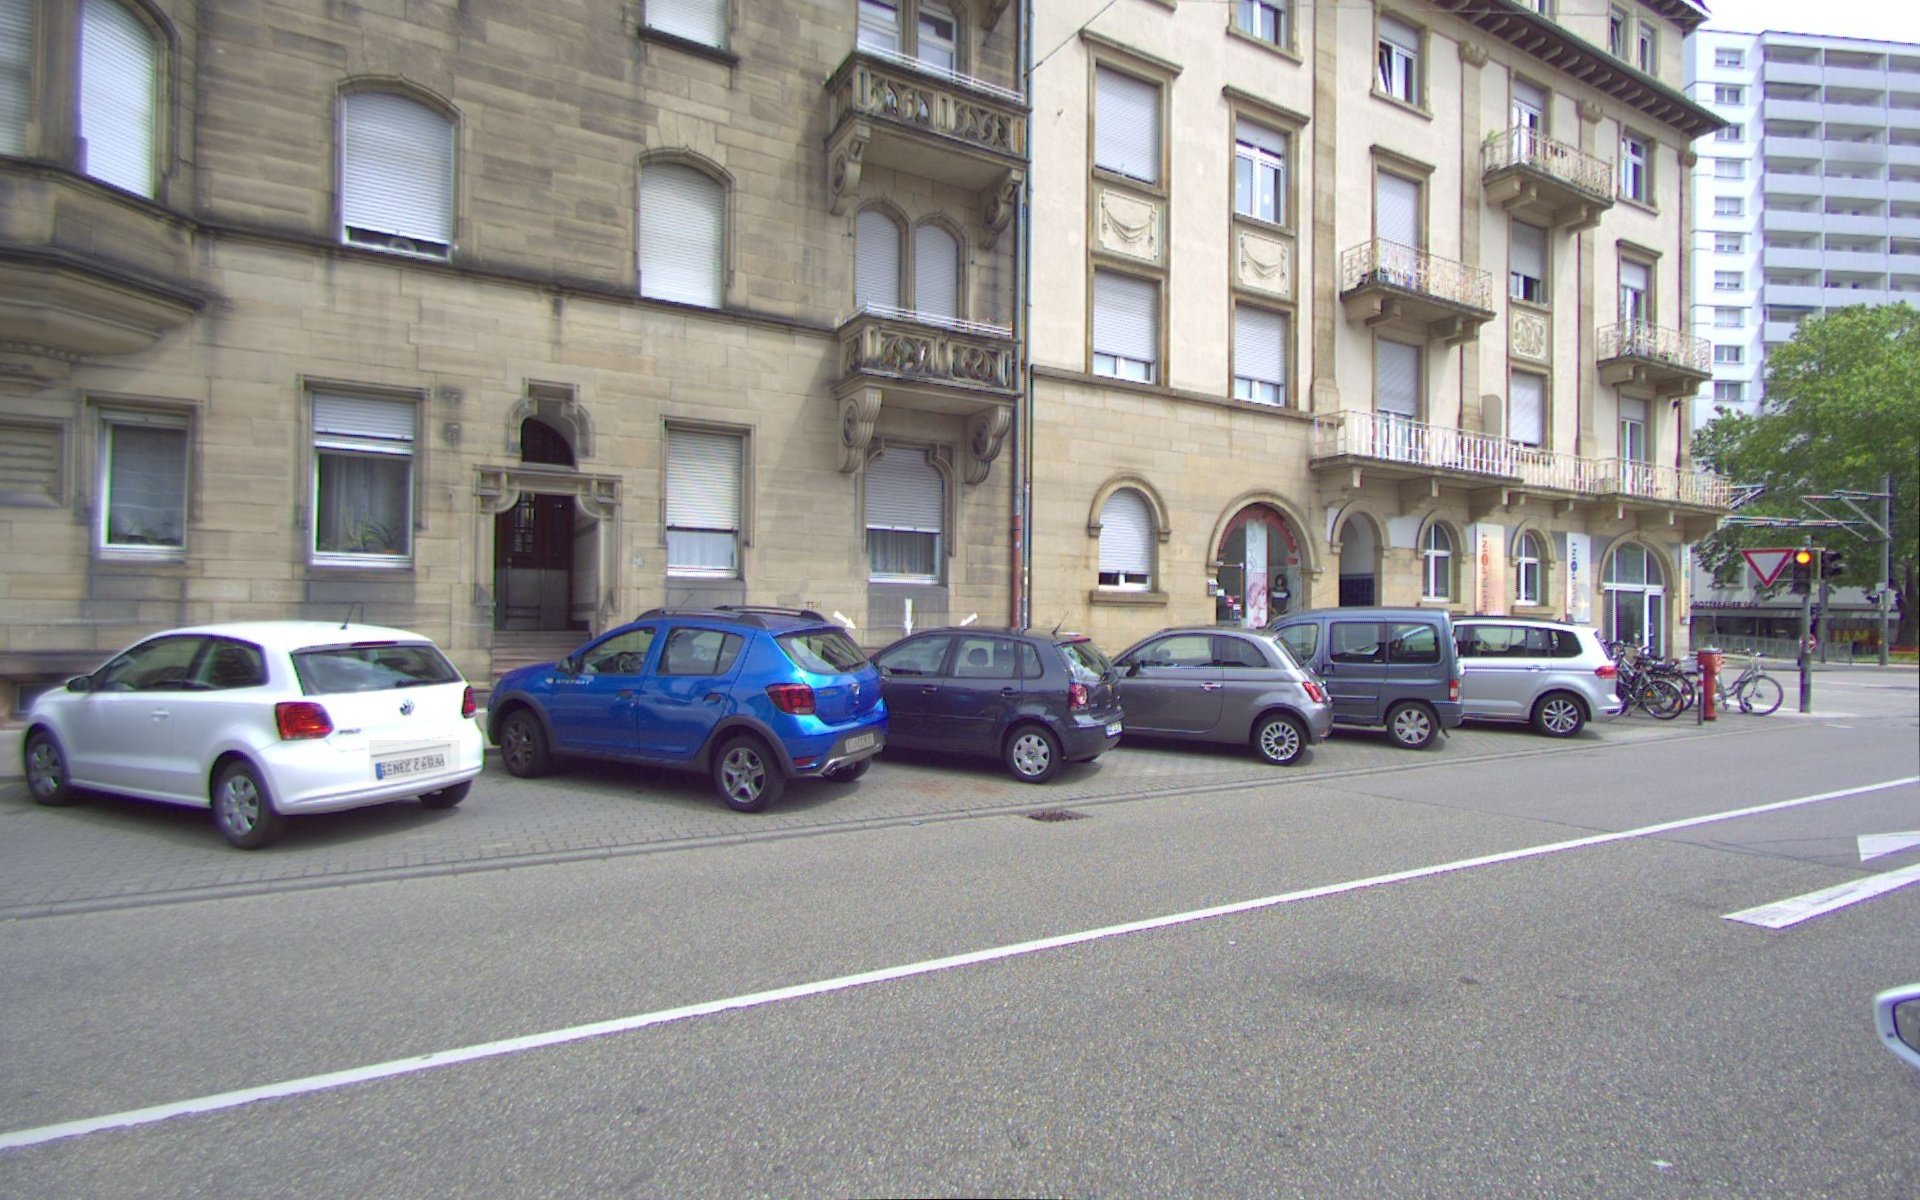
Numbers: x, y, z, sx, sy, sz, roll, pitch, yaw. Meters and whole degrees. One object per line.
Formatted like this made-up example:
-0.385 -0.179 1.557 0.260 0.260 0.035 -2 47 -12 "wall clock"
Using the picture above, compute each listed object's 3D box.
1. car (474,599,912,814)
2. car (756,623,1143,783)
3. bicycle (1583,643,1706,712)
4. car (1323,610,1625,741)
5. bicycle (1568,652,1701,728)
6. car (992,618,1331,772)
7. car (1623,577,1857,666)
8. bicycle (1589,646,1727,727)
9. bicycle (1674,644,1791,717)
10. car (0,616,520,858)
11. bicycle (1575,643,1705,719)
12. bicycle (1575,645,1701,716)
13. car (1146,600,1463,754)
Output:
-2.493 0.855 9.392 3.706 1.673 1.723 0 -1 24 "car"
-0.104 1.000 11.000 3.830 1.463 1.836 0 -1 25 "car"
12.853 1.430 18.903 0.588 1.135 1.796 1 1 -37 "bicycle"
7.698 1.071 15.453 3.934 1.797 1.796 0 -1 22 "car"
11.077 1.441 16.562 0.586 1.135 1.805 1 -1 -23 "bicycle"
2.555 1.075 12.637 3.934 1.673 1.796 0 -1 22 "car"
38.250 1.064 49.984 3.389 3.967 9.911 0 -1 -5 "car"
11.671 1.419 16.859 0.586 1.135 1.803 1 2 -25 "bicycle"
14.269 1.457 18.620 0.489 1.182 1.878 2 1 -9 "bicycle"
-5.462 0.888 7.844 3.616 1.501 1.741 0 -1 25 "car"
11.997 1.400 17.778 0.588 1.182 1.796 1 1 -37 "bicycle"
12.359 1.444 18.372 0.588 1.135 1.796 1 1 -37 "bicycle"
4.741 0.976 14.037 3.934 1.903 1.796 0 -1 22 "car"
